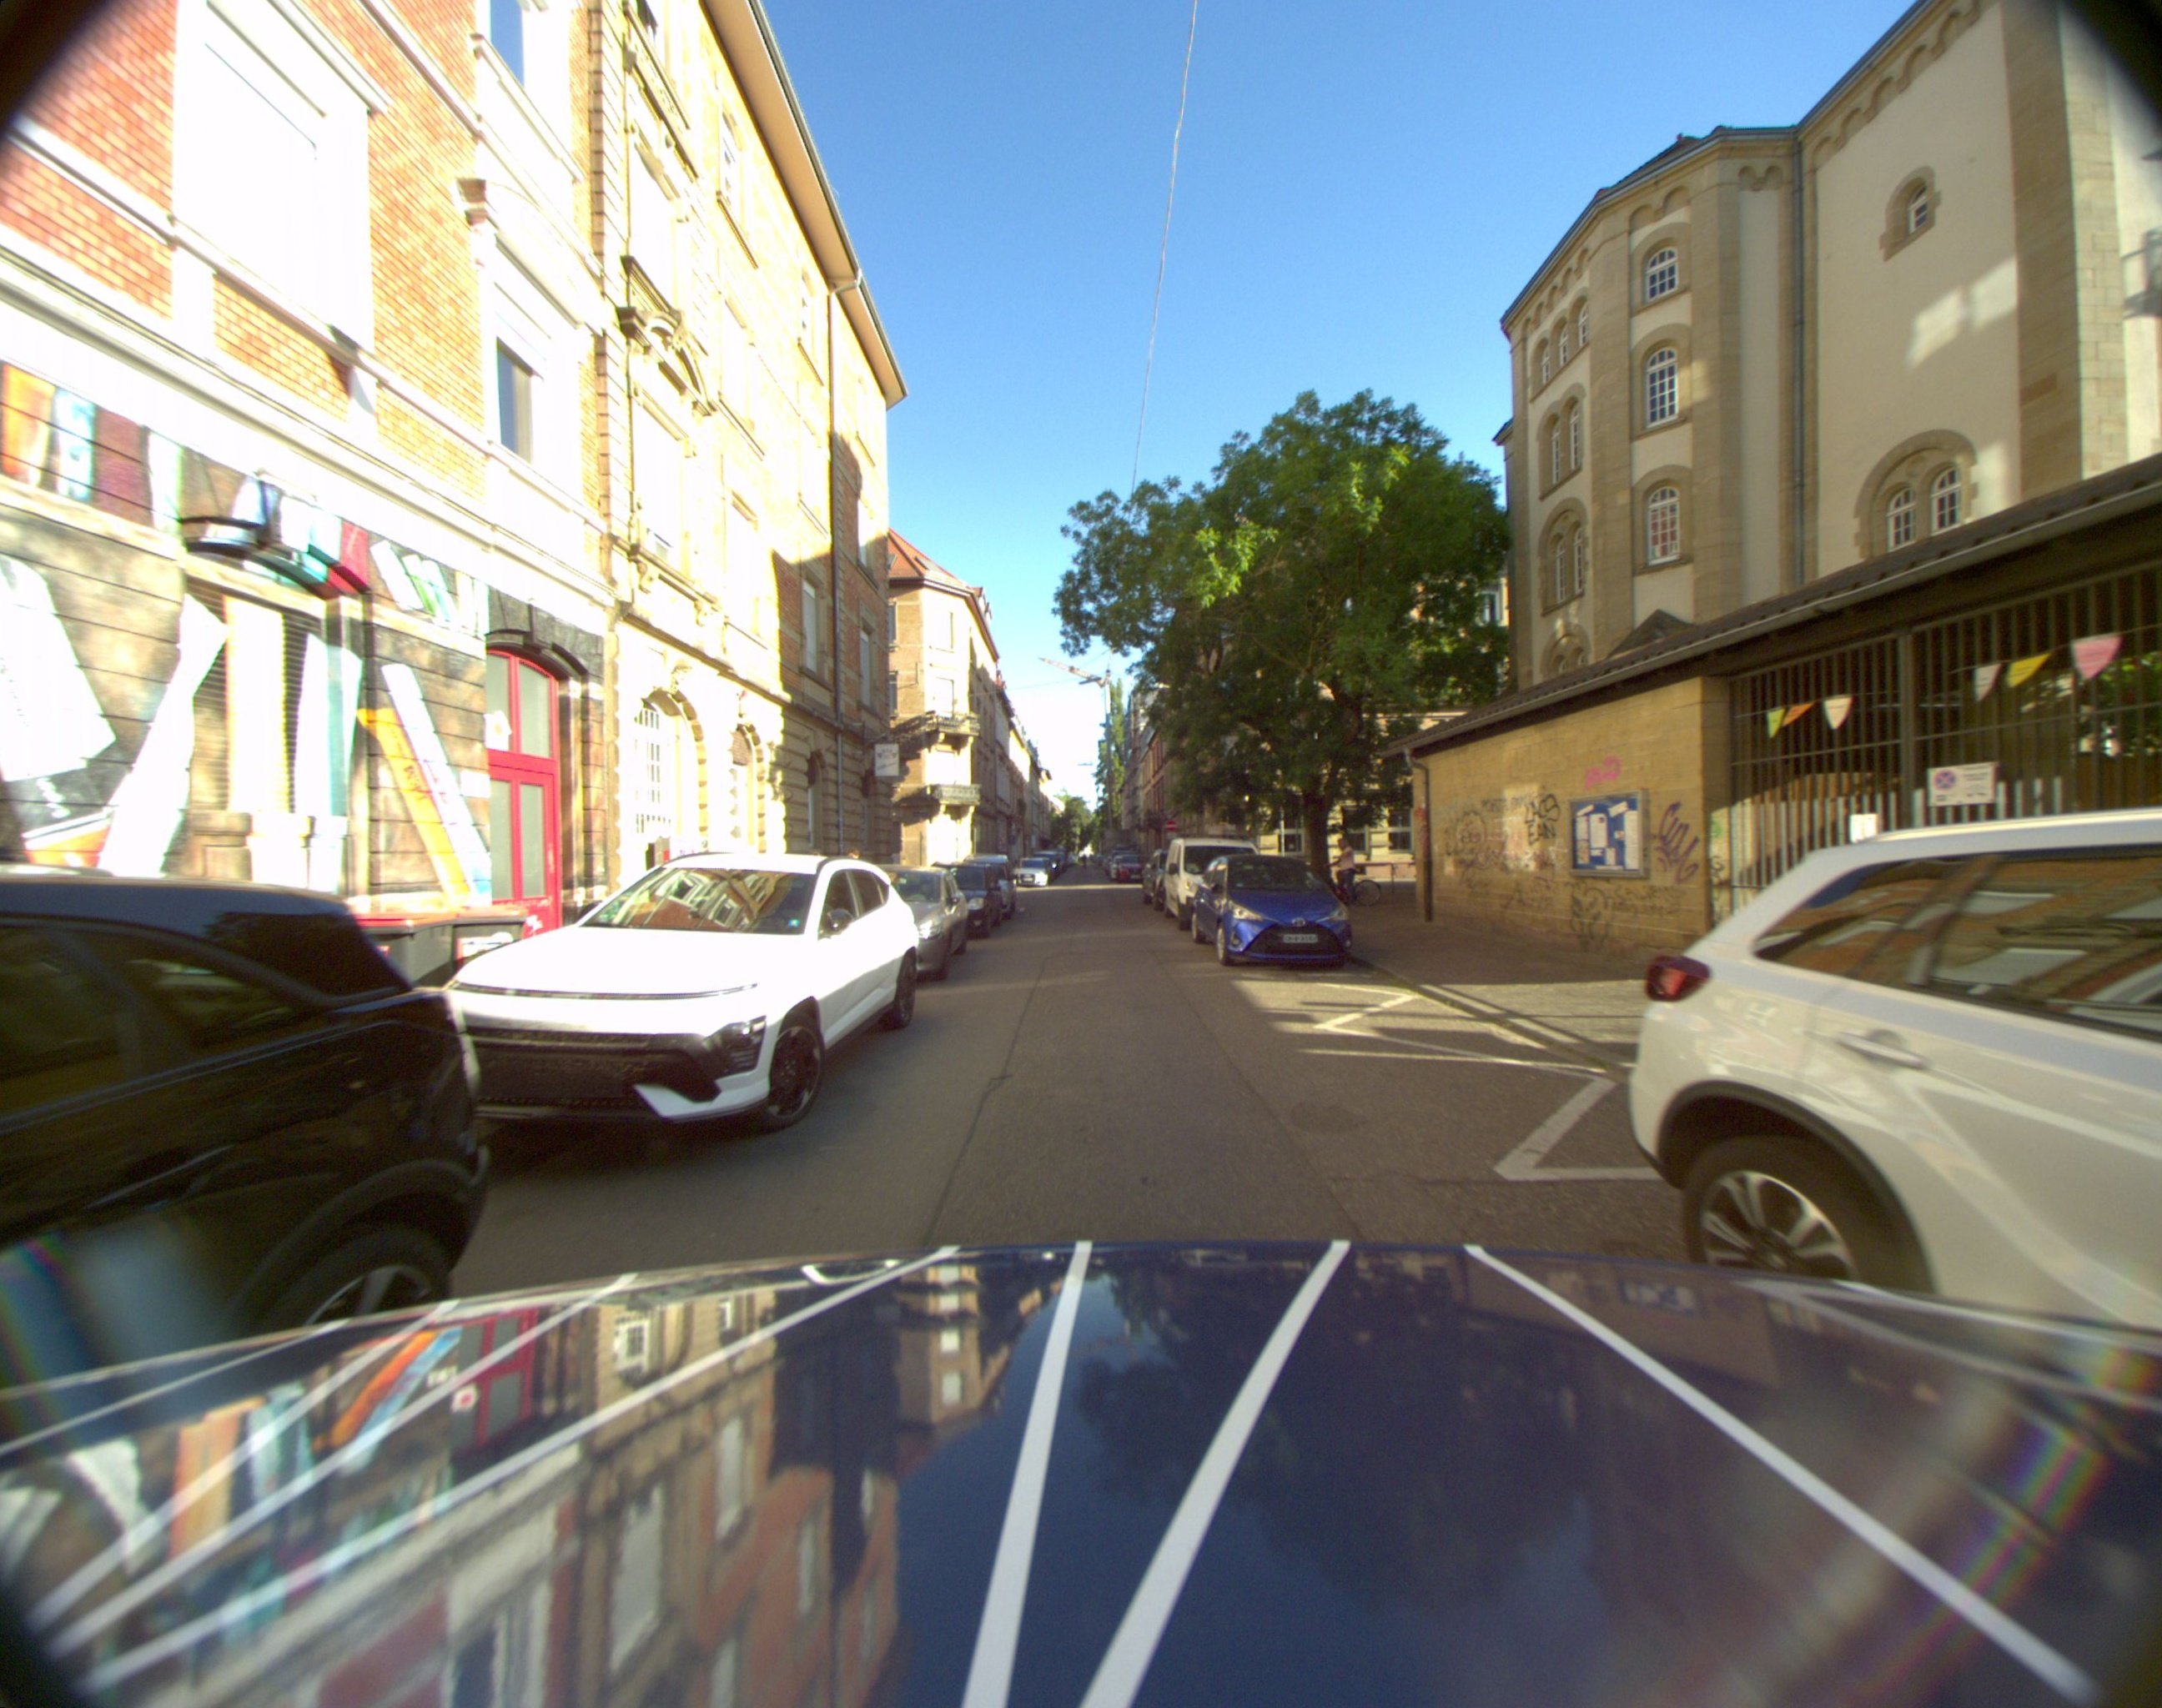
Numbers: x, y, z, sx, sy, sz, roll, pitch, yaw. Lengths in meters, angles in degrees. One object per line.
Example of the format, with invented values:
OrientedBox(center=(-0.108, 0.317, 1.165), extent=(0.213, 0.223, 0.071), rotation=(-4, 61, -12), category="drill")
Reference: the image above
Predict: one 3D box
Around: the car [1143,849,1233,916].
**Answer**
OrientedBox(center=(2.845, 0.701, 21.022), extent=(1.745, 1.637, 4.288), rotation=(-1, 0, -2), category="car")

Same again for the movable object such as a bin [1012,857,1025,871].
OrientedBox(center=(-4.958, 0.802, 60.306), extent=(0.898, 1.055, 0.722), rotation=(2, 1, -2), category="movable object such as a bin")

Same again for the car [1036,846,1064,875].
OrientedBox(center=(-2.325, 0.469, 58.113), extent=(1.836, 2.002, 4.741), rotation=(-3, 0, 1), category="car")

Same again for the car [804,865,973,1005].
OrientedBox(center=(-2.578, 0.991, 11.041), extent=(1.576, 1.516, 3.907), rotation=(-3, 0, -3), category="car")

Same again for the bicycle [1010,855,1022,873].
OrientedBox(center=(-4.835, 0.735, 56.678), extent=(0.728, 1.296, 1.692), rotation=(2, 1, 1), category="bicycle")

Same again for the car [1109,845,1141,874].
OrientedBox(center=(2.939, 0.320, 51.270), extent=(1.897, 1.774, 4.608), rotation=(-3, 0, 1), category="car")

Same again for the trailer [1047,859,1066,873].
OrientedBox(center=(-2.076, 1.021, 65.449), extent=(1.508, 1.106, 3.038), rotation=(-5, 0, -1), category="trailer")

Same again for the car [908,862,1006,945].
OrientedBox(center=(-2.519, 0.958, 16.132), extent=(1.539, 1.504, 3.681), rotation=(0, 0, -1), category="car")

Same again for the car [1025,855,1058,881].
OrientedBox(center=(-2.304, 0.806, 45.400), extent=(1.670, 1.470, 3.888), rotation=(-1, 0, 1), category="car")

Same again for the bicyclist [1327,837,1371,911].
OrientedBox(center=(6.536, 0.479, 18.583), extent=(0.806, 1.713, 0.692), rotation=(-4, 0, 9), category="bicyclist")

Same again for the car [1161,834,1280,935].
OrientedBox(center=(2.852, 0.580, 16.452), extent=(1.850, 1.851, 4.465), rotation=(-1, 0, 2), category="car")

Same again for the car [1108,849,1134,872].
OrientedBox(center=(2.976, 0.450, 57.417), extent=(1.792, 1.615, 4.608), rotation=(-3, 0, 1), category="car")

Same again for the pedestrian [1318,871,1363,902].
OrientedBox(center=(6.962, 0.872, 20.407), extent=(0.920, 0.773, 0.701), rotation=(-1, 1, -23), category="pedestrian")

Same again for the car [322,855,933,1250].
OrientedBox(center=(-2.501, 0.928, 5.609), extent=(1.812, 1.680, 4.214), rotation=(-3, 1, 1), category="car")

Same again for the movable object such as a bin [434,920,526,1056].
OrientedBox(center=(-5.210, 1.132, 6.620), extent=(0.550, 1.046, 0.602), rotation=(1, 0, -33), category="movable object such as a bin")

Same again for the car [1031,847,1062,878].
OrientedBox(center=(-2.343, 0.559, 52.446), extent=(1.774, 1.949, 4.264), rotation=(-3, 0, 1), category="car")

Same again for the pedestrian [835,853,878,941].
OrientedBox(center=(-4.155, 0.778, 14.109), extent=(0.592, 1.594, 0.727), rotation=(0, 0, -1), category="pedestrian")

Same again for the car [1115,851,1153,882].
OrientedBox(center=(2.759, 0.645, 40.368), extent=(1.727, 1.472, 4.089), rotation=(-3, 0, 1), category="car")

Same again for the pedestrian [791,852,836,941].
OrientedBox(center=(-4.927, 0.765, 14.031), extent=(0.575, 1.612, 0.734), rotation=(0, 0, -1), category="pedestrian")

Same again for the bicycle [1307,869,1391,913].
OrientedBox(center=(6.497, 0.892, 18.517), extent=(1.764, 0.917, 0.827), rotation=(-4, 0, 9), category="bicycle")

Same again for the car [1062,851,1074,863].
OrientedBox(center=(-1.844, 0.441, 108.804), extent=(1.603, 1.652, 4.060), rotation=(-3, 0, 1), category="car")

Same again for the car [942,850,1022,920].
OrientedBox(center=(-2.579, 0.743, 20.514), extent=(1.708, 1.704, 3.937), rotation=(0, 0, -1), category="car")

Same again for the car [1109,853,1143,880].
OrientedBox(center=(2.648, 0.715, 45.327), extent=(1.678, 1.412, 3.874), rotation=(-3, 0, -1), category="car")

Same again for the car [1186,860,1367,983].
OrientedBox(center=(2.676, 0.851, 11.313), extent=(1.691, 1.468, 3.860), rotation=(1, 0, 0), category="car")

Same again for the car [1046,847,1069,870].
OrientedBox(center=(-2.160, 0.421, 70.605), extent=(1.849, 1.972, 4.576), rotation=(-3, 0, 0), category="car")

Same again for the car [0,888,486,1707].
OrientedBox(center=(-2.650, 0.946, 0.286), extent=(1.691, 1.633, 3.924), rotation=(-1, 0, 1), category="car")

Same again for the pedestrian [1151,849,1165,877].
OrientedBox(center=(4.498, 0.532, 44.403), extent=(0.668, 1.571, 0.759), rotation=(-2, 1, 0), category="pedestrian")

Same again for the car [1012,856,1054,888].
OrientedBox(center=(-2.386, 0.872, 38.878), extent=(1.710, 1.450, 4.511), rotation=(-3, 0, 1), category="car")

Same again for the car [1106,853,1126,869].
OrientedBox(center=(3.155, 0.585, 68.999), extent=(1.678, 1.410, 3.999), rotation=(0, 0, 0), category="car")

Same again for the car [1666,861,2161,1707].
OrientedBox(center=(2.750, 0.839, 0.511), extent=(1.746, 1.577, 3.868), rotation=(-2, 0, 1), category="car")

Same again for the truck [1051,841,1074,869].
OrientedBox(center=(-1.981, 0.078, 79.007), extent=(2.154, 2.642, 6.252), rotation=(3, 0, -2), category="truck")
